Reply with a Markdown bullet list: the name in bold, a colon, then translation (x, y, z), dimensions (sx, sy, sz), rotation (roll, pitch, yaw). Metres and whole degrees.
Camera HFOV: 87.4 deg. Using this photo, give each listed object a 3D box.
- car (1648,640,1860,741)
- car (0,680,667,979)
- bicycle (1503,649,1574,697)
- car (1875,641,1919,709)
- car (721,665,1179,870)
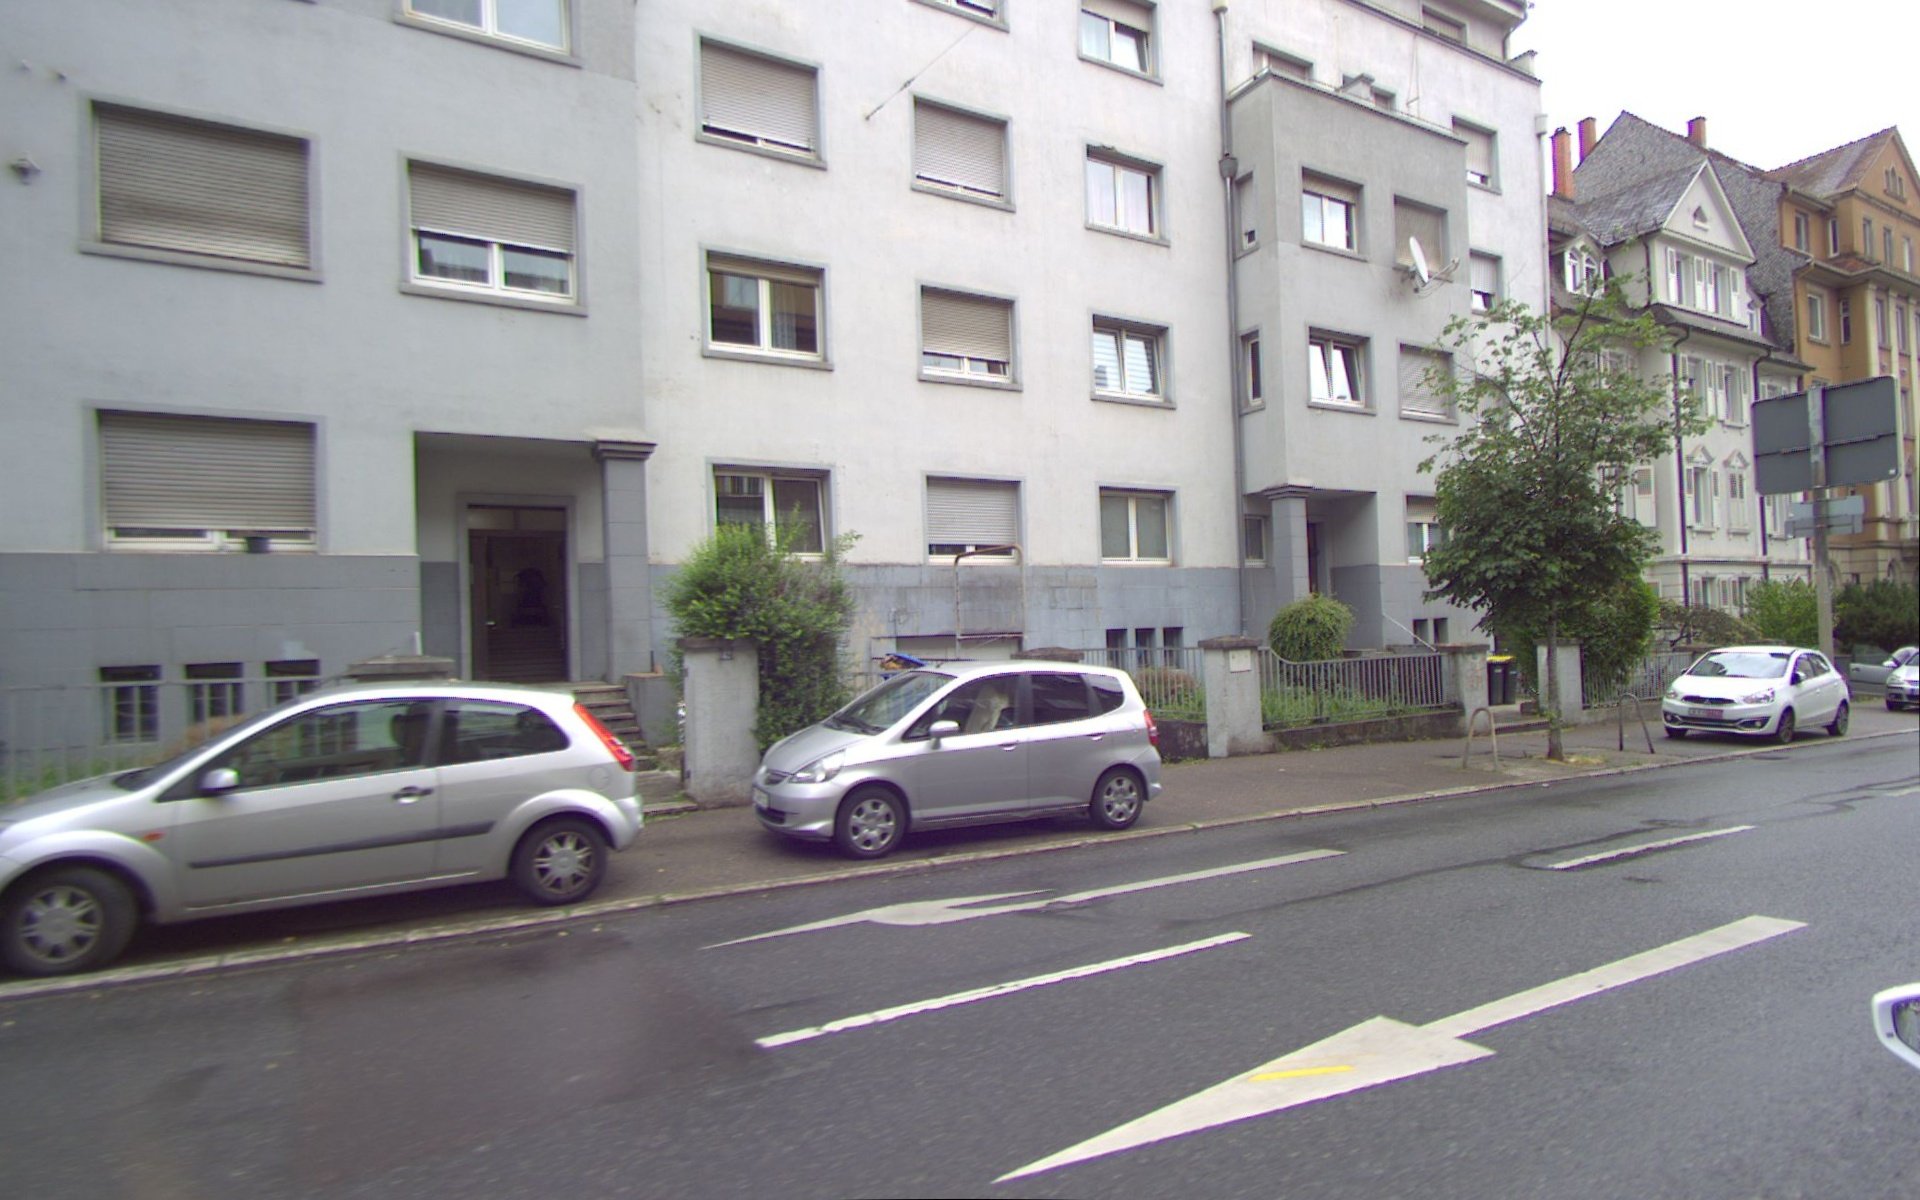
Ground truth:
- **car**: translation (13.398, 1.455, 16.915), dimensions (3.755, 1.528, 1.637), rotation (2, -3, -32)
- **car**: translation (-4.052, 1.279, 6.533), dimensions (3.844, 1.415, 1.593), rotation (2, -3, -32)
- **bicycle**: translation (13.779, 1.722, 23.951), dimensions (0.478, 1.104, 1.415), rotation (0, -2, -30)
- **car**: translation (22.007, 1.615, 22.123), dimensions (3.863, 1.408, 1.675), rotation (1, -2, -30)
- **car**: translation (-0.051, 1.343, 9.054), dimensions (3.837, 1.470, 1.595), rotation (2, -3, -27)
